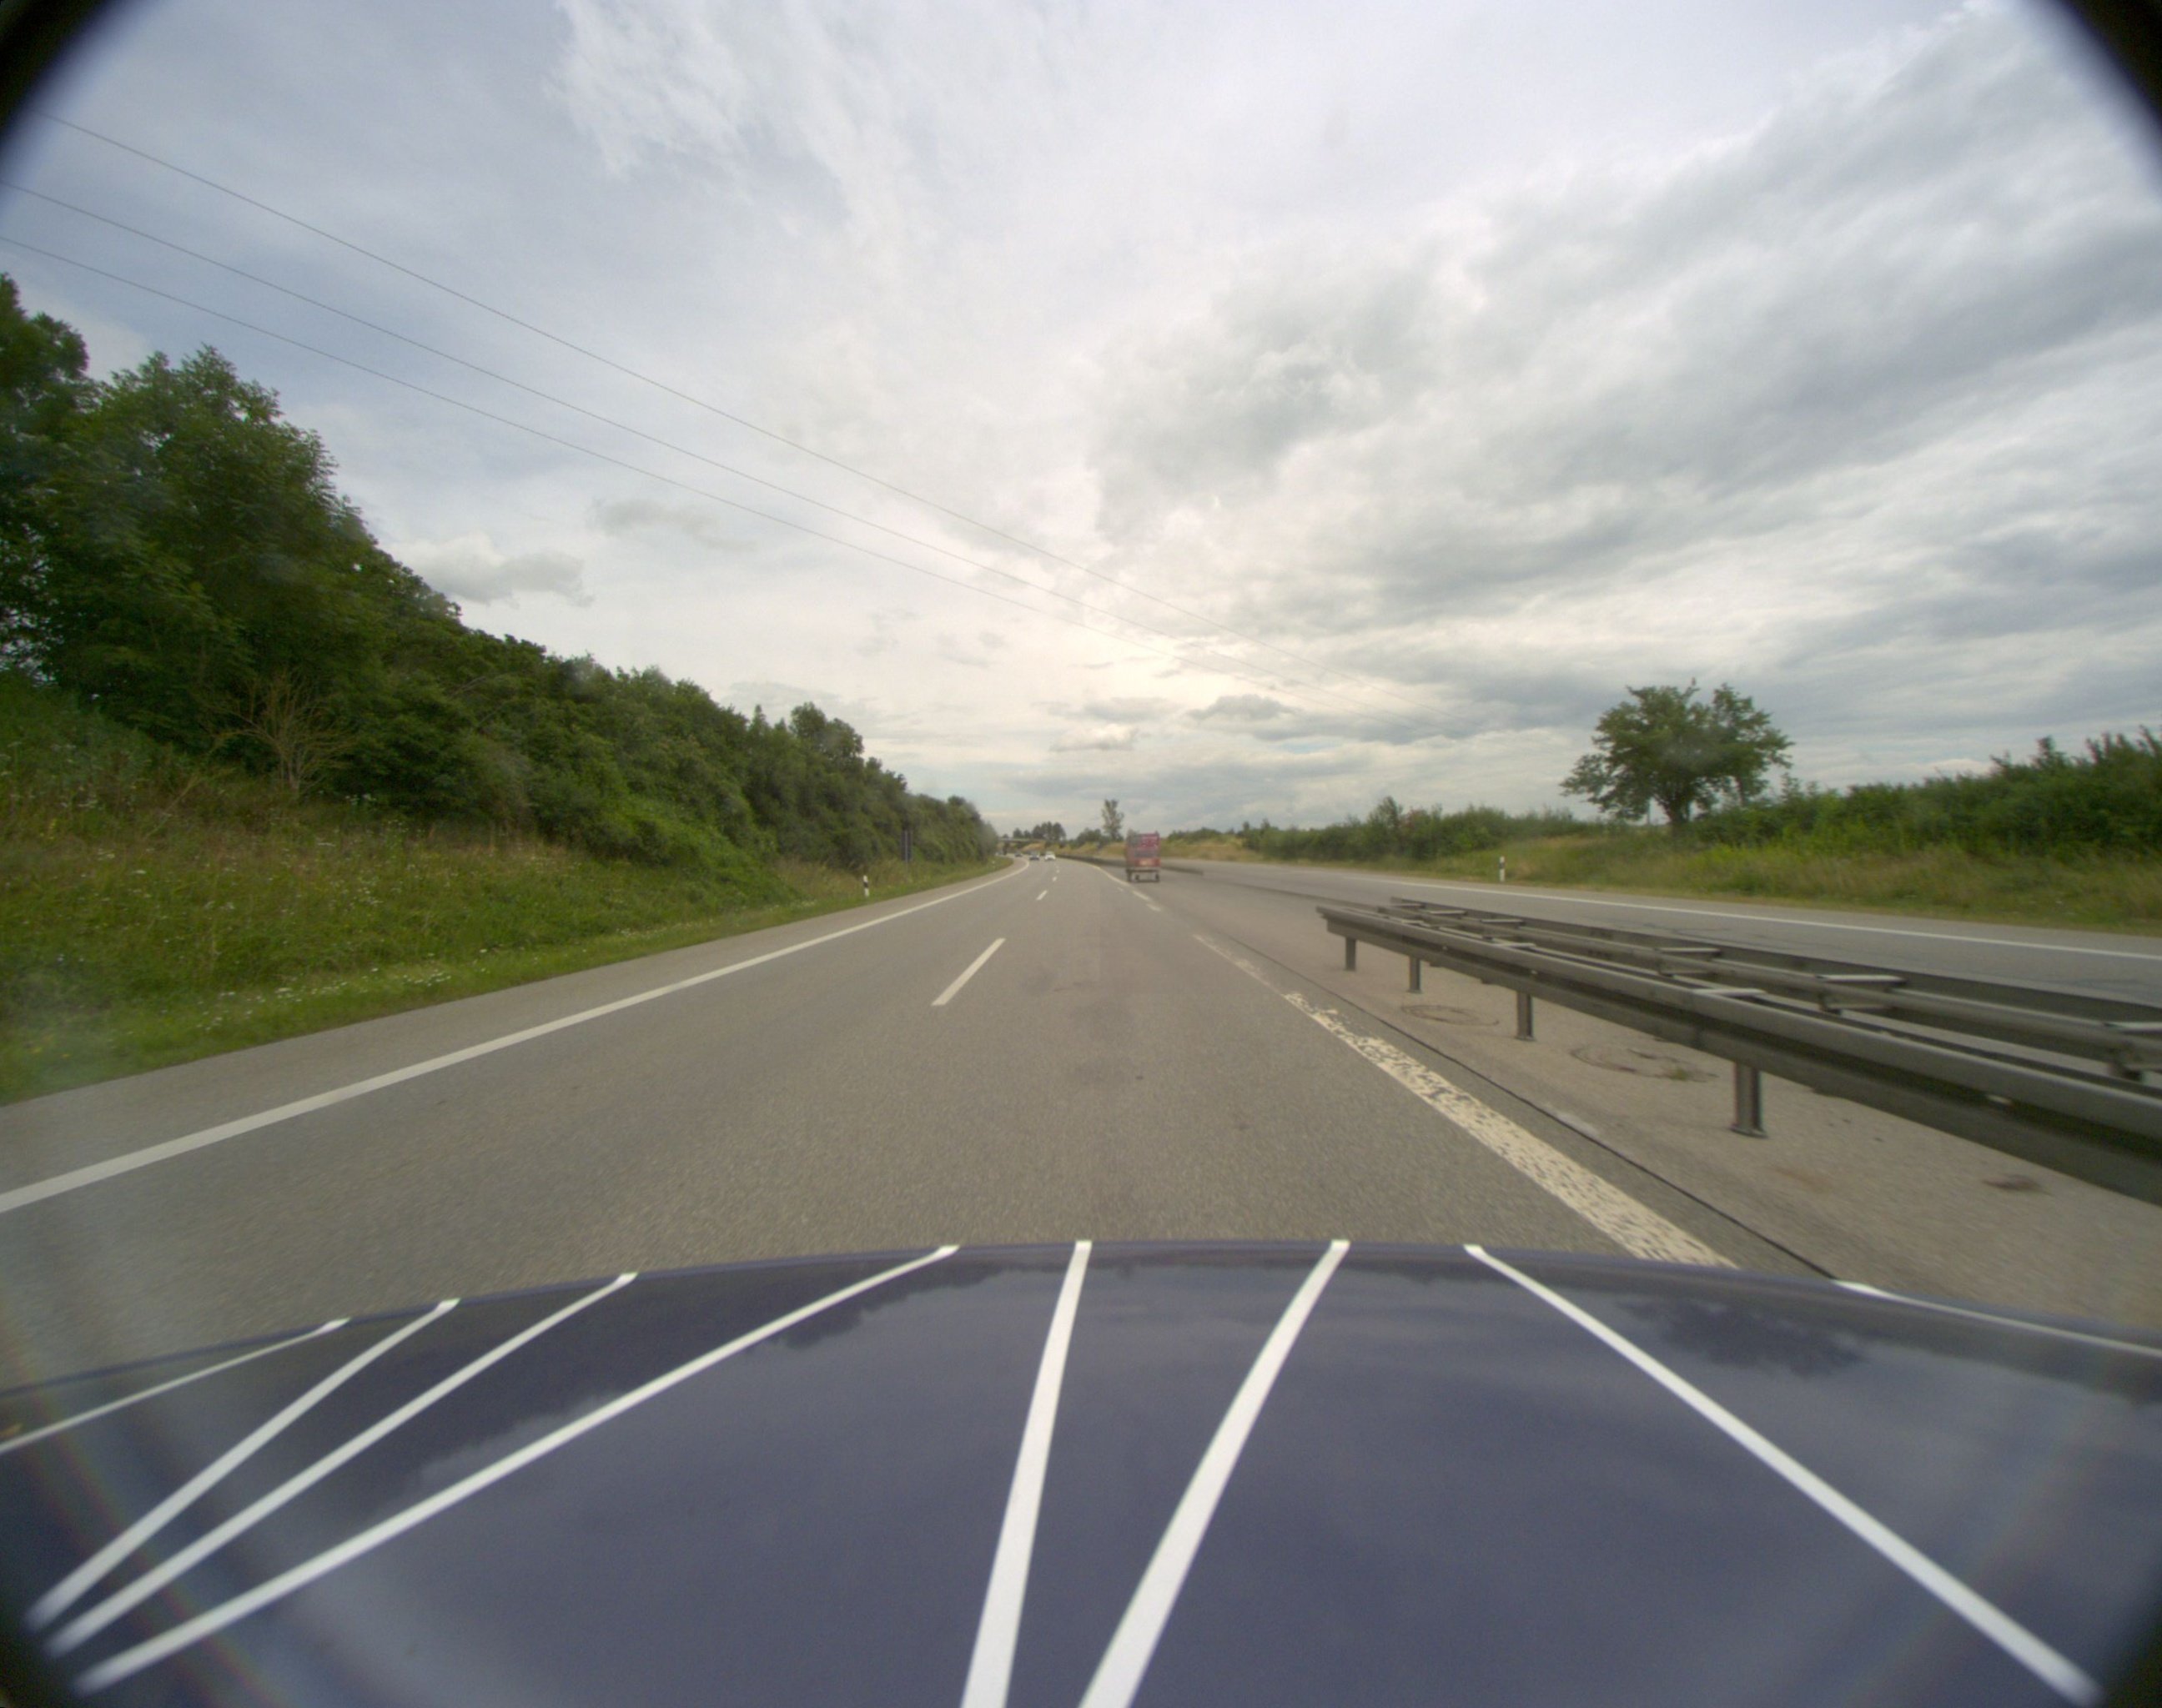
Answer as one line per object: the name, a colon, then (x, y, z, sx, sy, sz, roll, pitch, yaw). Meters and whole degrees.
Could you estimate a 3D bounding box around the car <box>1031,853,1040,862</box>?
car: (-8.888, 0.748, 149.408, 1.650, 1.686, 4.735, -1, 1, -3)

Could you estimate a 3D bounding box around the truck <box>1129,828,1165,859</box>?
truck: (9.506, -1.483, 110.816, 3.339, 4.146, 13.673, -2, 1, -3)

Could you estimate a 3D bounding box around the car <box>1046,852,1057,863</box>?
car: (-5.292, 0.609, 135.715, 1.775, 1.813, 4.164, -2, 0, -3)
